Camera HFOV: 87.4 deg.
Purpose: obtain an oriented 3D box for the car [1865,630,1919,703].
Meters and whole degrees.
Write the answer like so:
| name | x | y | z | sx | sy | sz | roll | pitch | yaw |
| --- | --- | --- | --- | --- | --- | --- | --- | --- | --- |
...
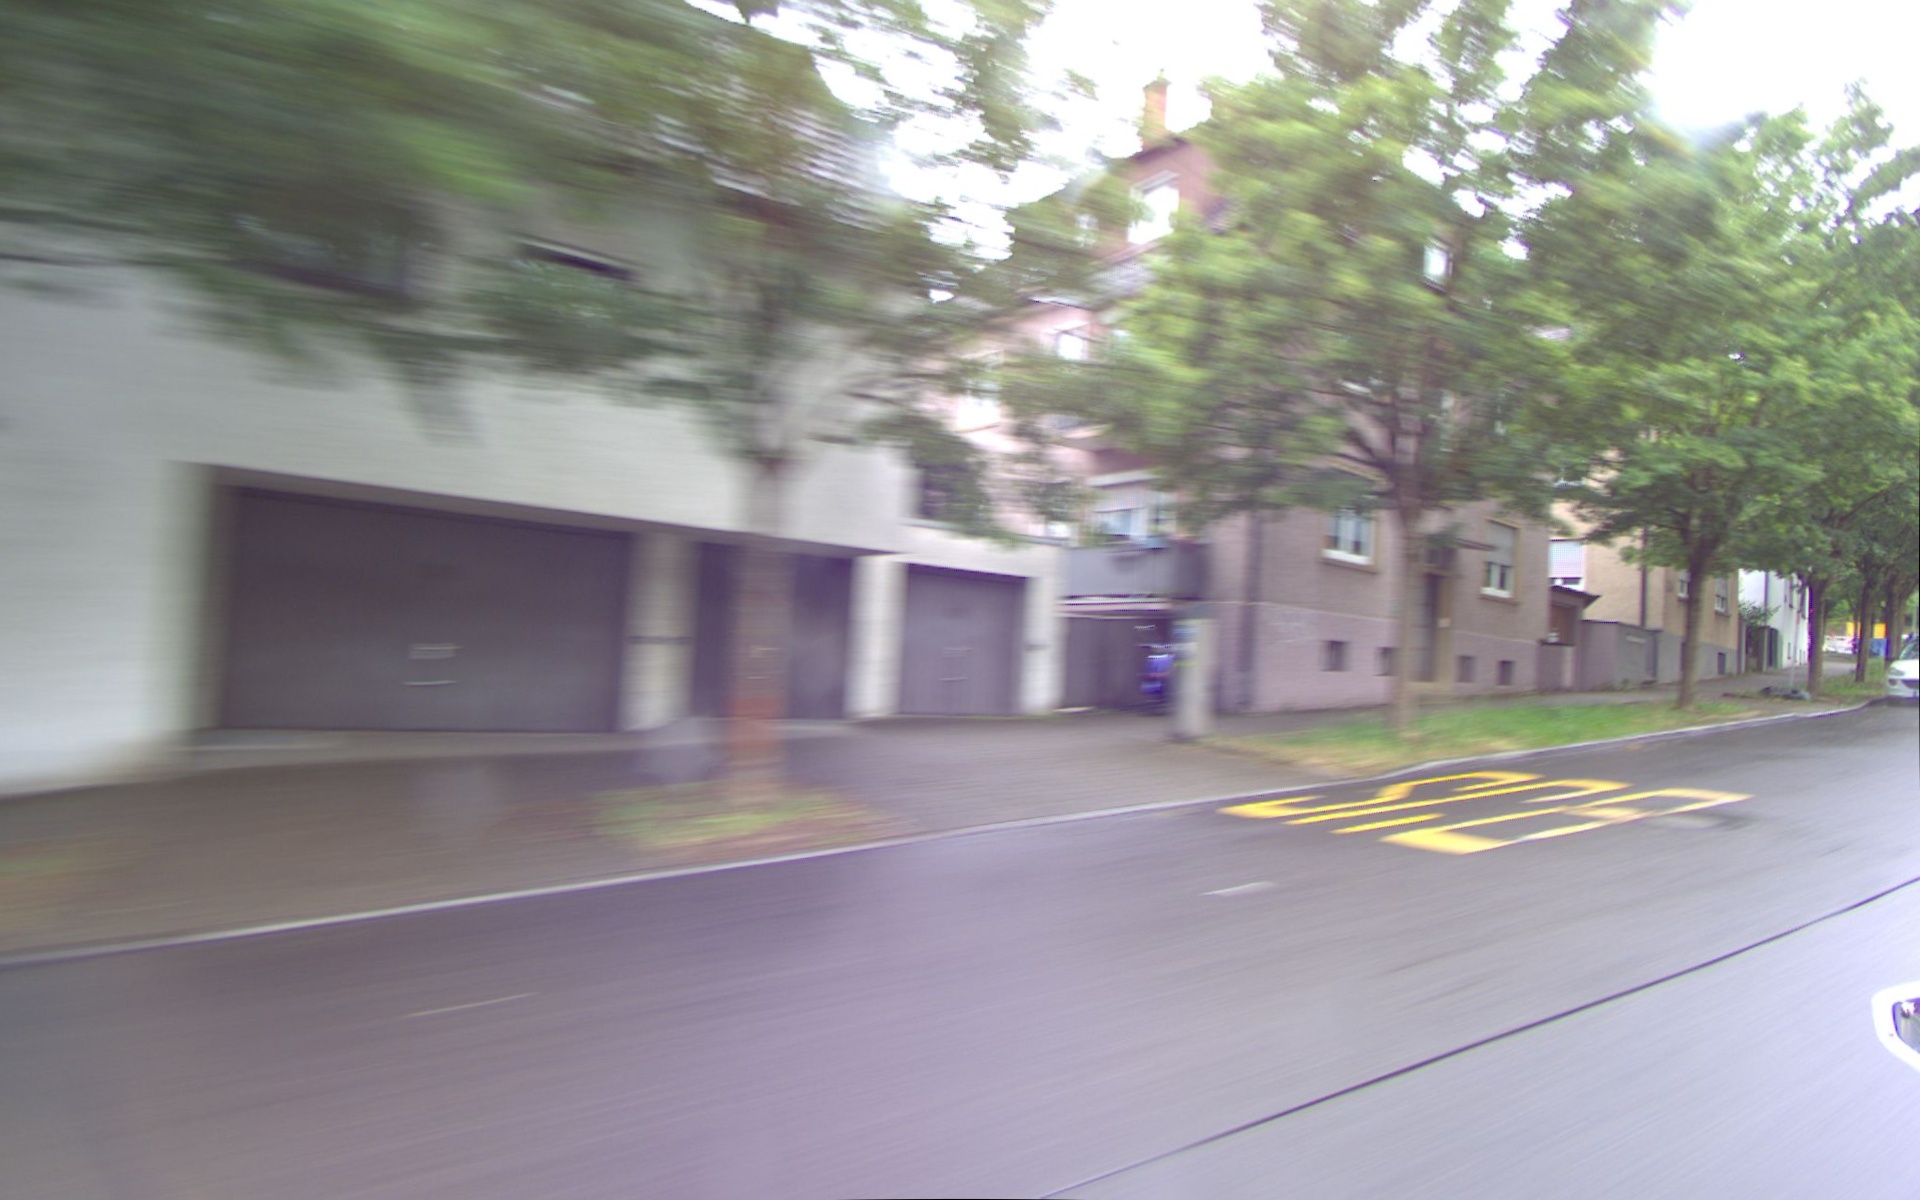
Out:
| name | x | y | z | sx | sy | sz | roll | pitch | yaw |
| --- | --- | --- | --- | --- | --- | --- | --- | --- | --- |
| car | 21.905 | 1.458 | 22.559 | 3.971 | 1.550 | 1.975 | 2 | -3 | -42 |

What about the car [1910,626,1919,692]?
| name | x | y | z | sx | sy | sz | roll | pitch | yaw |
| --- | --- | --- | --- | --- | --- | --- | --- | --- | --- |
| car | 25.687 | 1.489 | 25.603 | 3.971 | 1.617 | 1.861 | 2 | -3 | -42 |

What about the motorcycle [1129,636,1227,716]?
| name | x | y | z | sx | sy | sz | roll | pitch | yaw |
| --- | --- | --- | --- | --- | --- | --- | --- | --- | --- |
| motorcycle | 3.529 | 1.199 | 16.218 | 1.683 | 1.174 | 0.609 | 0 | 0 | -37 |
